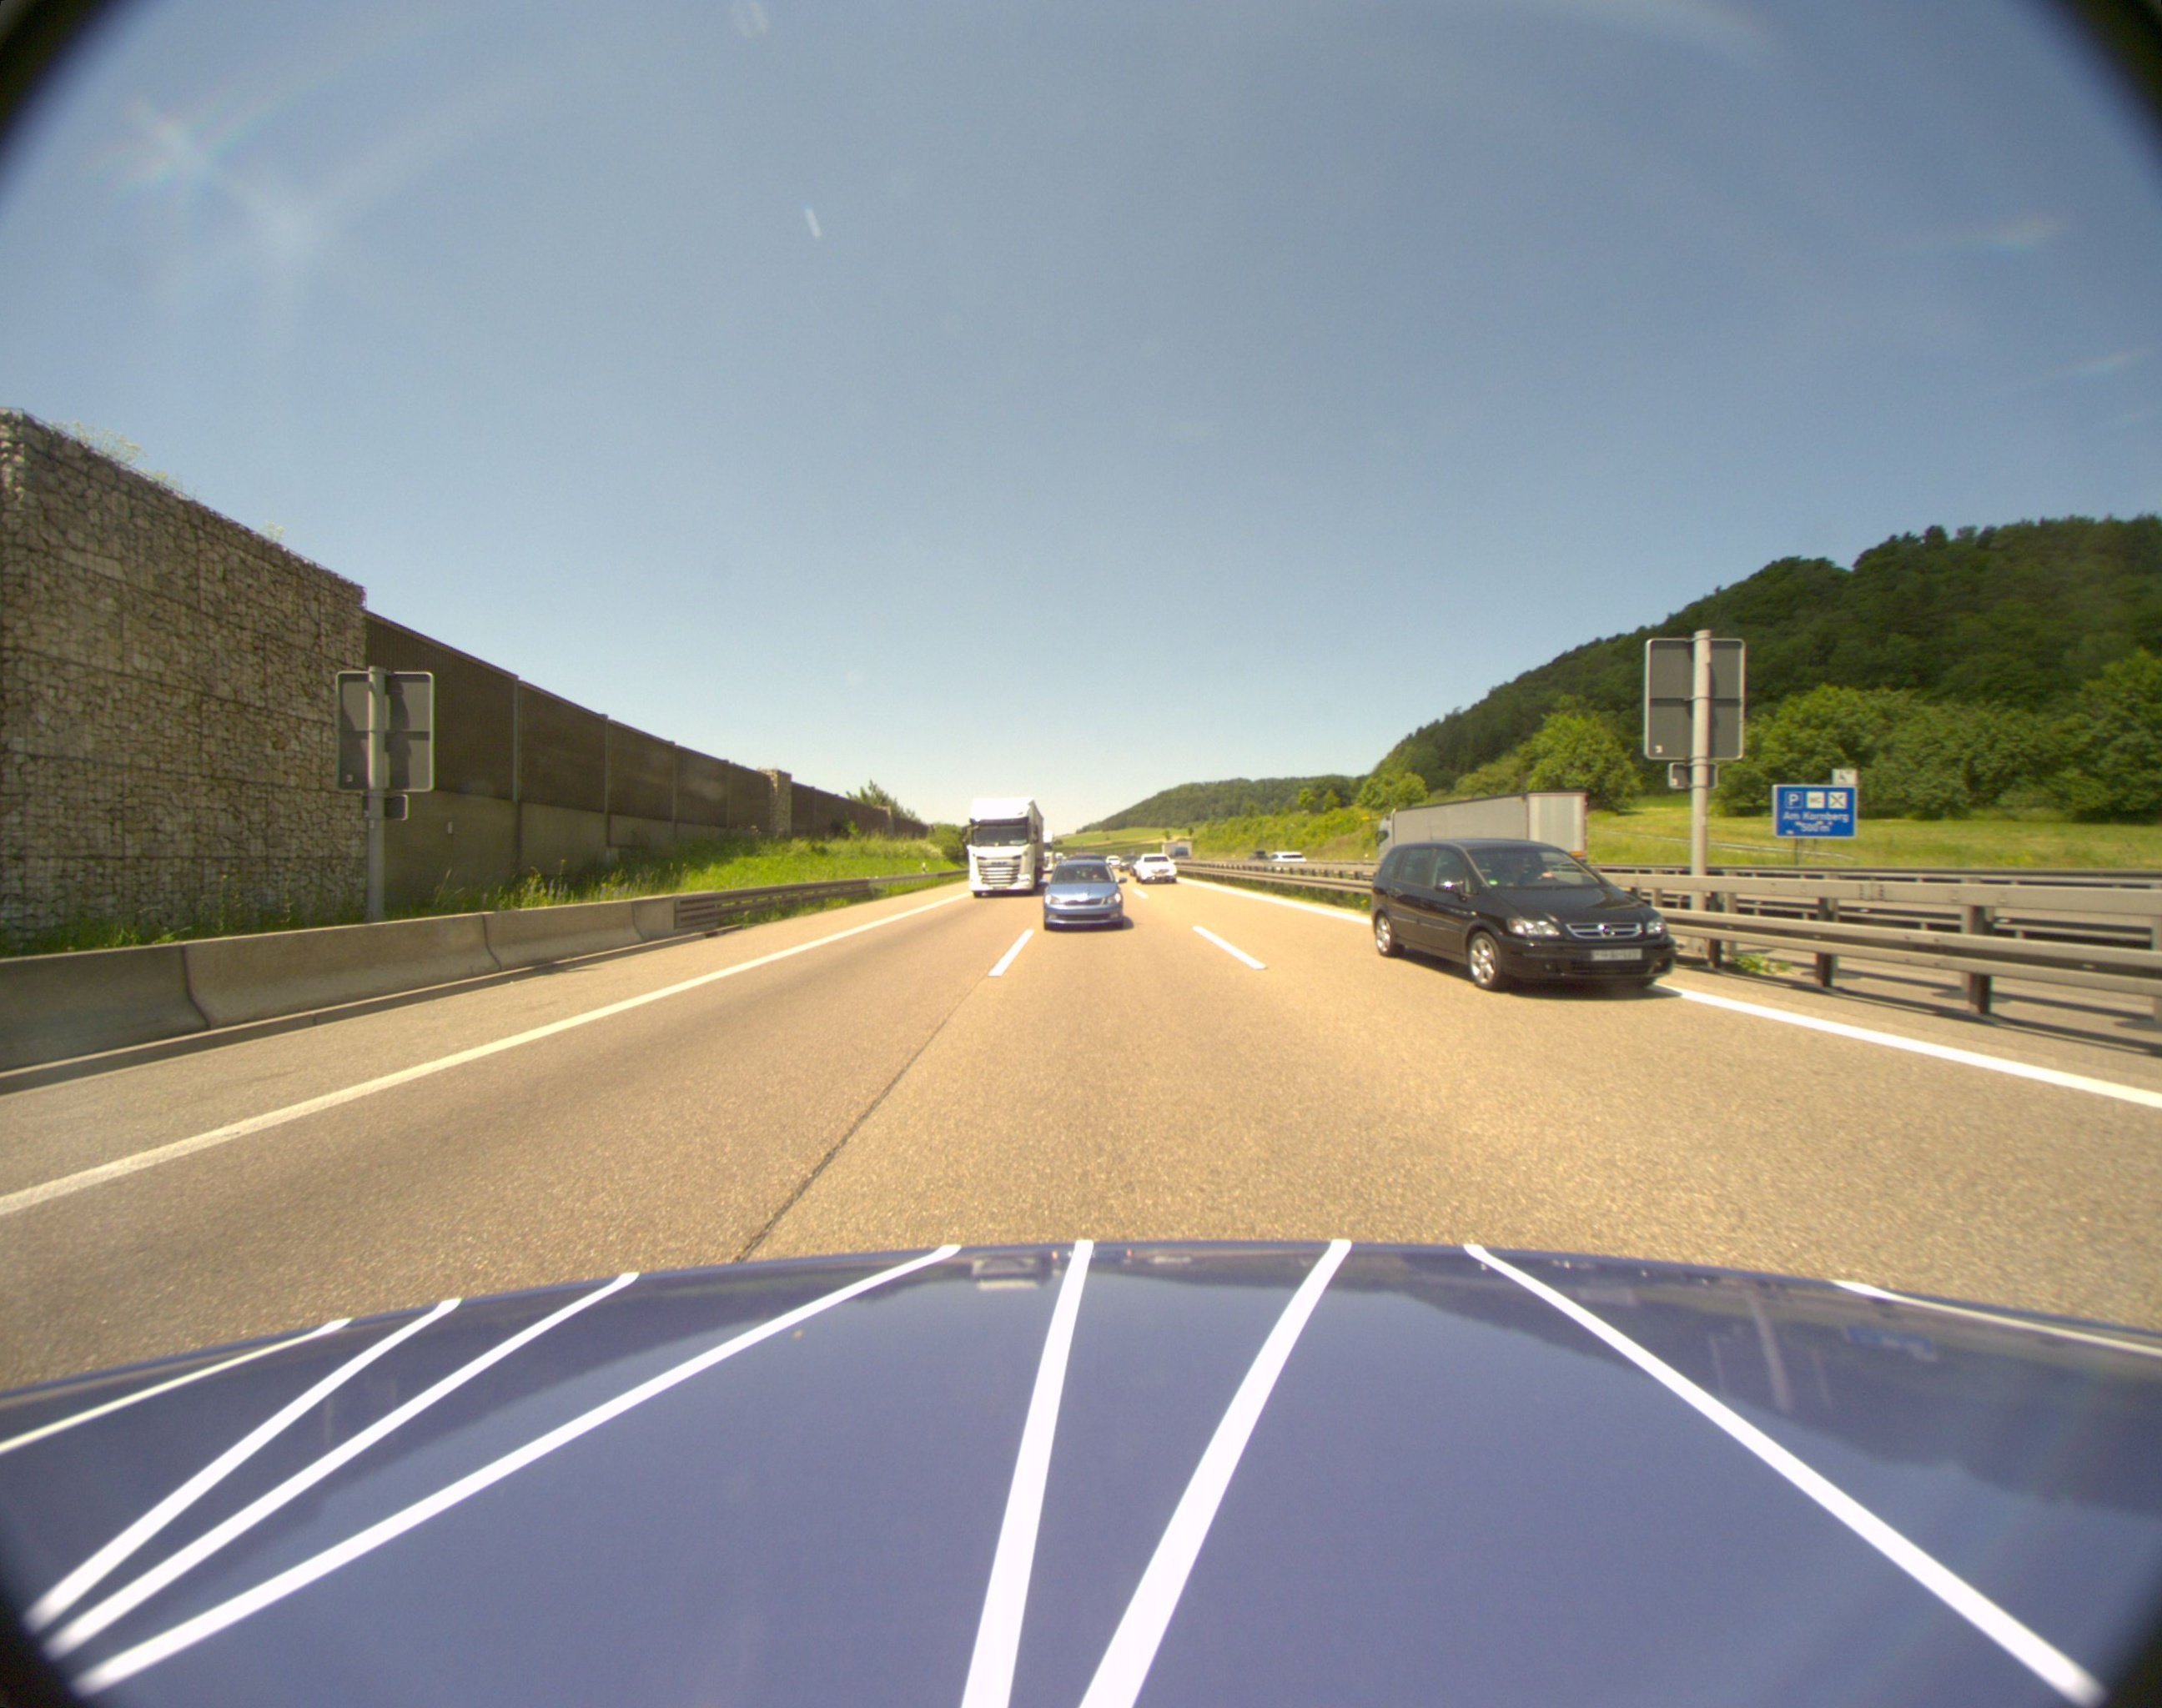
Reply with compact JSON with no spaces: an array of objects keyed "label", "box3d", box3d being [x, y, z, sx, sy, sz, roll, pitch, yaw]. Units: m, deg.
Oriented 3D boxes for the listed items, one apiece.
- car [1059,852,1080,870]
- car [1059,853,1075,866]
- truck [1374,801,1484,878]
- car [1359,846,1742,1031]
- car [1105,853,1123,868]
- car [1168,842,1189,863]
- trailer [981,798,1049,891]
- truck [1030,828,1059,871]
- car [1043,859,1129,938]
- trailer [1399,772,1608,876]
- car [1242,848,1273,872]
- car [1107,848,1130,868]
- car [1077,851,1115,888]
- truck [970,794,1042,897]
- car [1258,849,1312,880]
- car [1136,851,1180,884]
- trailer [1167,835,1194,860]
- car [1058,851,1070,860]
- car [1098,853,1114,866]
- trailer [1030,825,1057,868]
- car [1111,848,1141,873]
[{"label":"car","box3d":[-1.244,0.703,79.694,1.999,1.702,3.998,-2,1,-2]},{"label":"car","box3d":[-1.953,0.732,102.845,1.999,1.702,3.998,-2,1,-2]},{"label":"truck","box3d":[20.383,-0.849,45.026,3.286,4.124,6.954,-1,1,0]},{"label":"car","box3d":[5.007,0.751,9.007,1.805,1.625,4.446,-1,0,0]},{"label":"car","box3d":[3.856,0.743,89.966,1.998,1.702,4.000,-2,1,1]},{"label":"car","box3d":[14.243,-0.222,111.140,2.161,2.846,6.398,-2,1,0]},{"label":"trailer","box3d":[-3.105,-0.435,39.356,2.484,3.954,13.653,-1,0,-1]},{"label":"truck","box3d":[-3.667,-0.469,75.102,2.532,4.065,6.077,-2,1,-4]},{"label":"car","box3d":[0.017,0.889,17.219,1.660,1.481,4.652,-1,0,-2]},{"label":"trailer","box3d":[20.285,-1.328,38.080,3.255,4.180,12.998,-2,1,1]},{"label":"car","box3d":[15.657,0.509,67.594,1.890,2.105,4.284,-1,0,3]},{"label":"car","box3d":[3.460,0.313,70.530,1.998,1.702,4.000,-2,1,1]},{"label":"car","box3d":[0.695,0.720,37.641,1.737,1.674,4.197,-1,0,0]},{"label":"truck","box3d":[-3.069,-0.329,32.560,2.484,3.954,6.380,-1,0,-1]},{"label":"car","box3d":[12.053,0.584,45.135,1.998,1.683,4.509,-2,0,1]},{"label":"car","box3d":[4.109,0.682,41.049,1.998,1.612,4.000,-1,0,1]},{"label":"trailer","box3d":[17.672,-1.236,135.291,2.862,4.167,13.613,-2,1,0]},{"label":"car","box3d":[-3.168,0.287,142.153,1.999,1.702,3.998,-2,1,-2]},{"label":"car","box3d":[3.381,0.713,102.183,1.998,1.702,4.000,-2,1,1]},{"label":"trailer","box3d":[-4.112,-0.813,80.905,2.545,4.085,13.622,-2,1,-4]},{"label":"car","box3d":[3.266,0.458,55.779,1.998,1.692,4.000,-2,1,1]}]
